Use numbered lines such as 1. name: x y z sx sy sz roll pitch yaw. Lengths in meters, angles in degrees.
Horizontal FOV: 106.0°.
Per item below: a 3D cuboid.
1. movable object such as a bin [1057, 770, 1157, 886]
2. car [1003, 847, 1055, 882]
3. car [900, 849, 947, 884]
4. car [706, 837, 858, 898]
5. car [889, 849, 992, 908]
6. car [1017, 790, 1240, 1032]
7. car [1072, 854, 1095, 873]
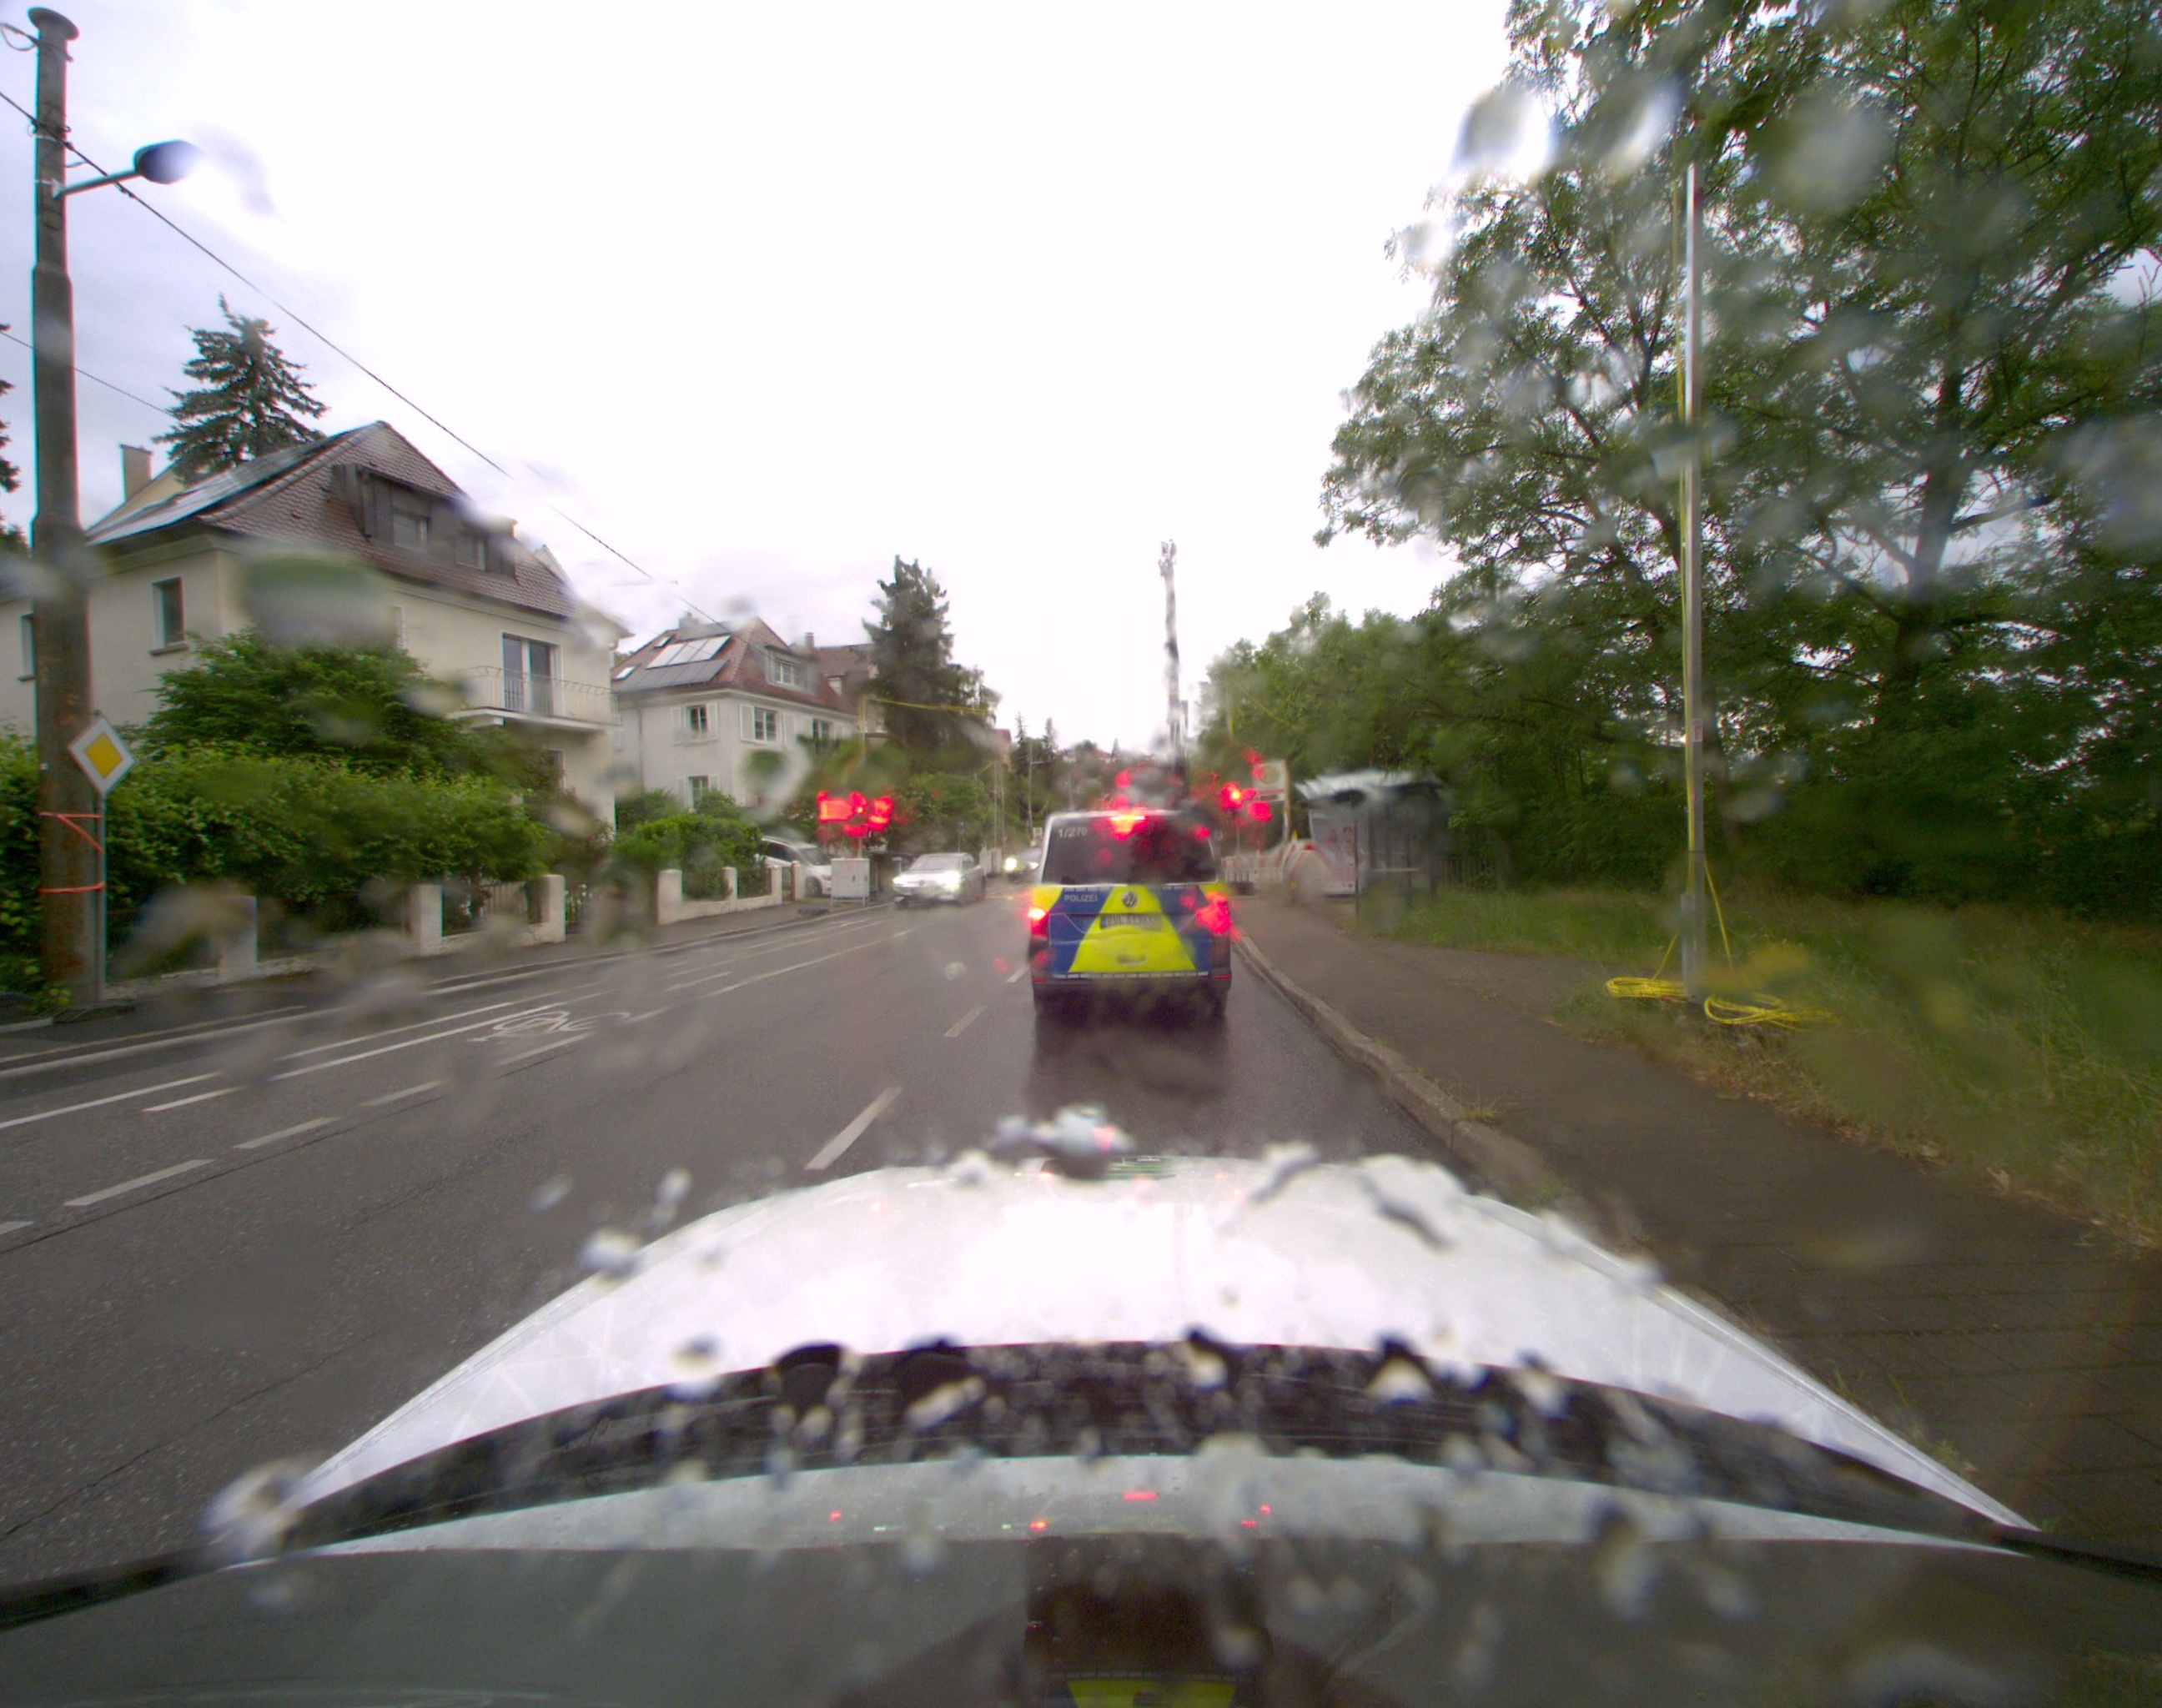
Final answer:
1. movable object such as a bin: 1.113 -0.933 31.774 2.809 4.177 4.400 0 0 17
2. car: -2.470 0.486 39.762 1.857 1.621 4.171 -1 0 5
3. car: -7.447 0.553 38.302 1.770 1.486 3.720 0 1 -17
4. car: -10.273 0.457 28.059 4.599 2.007 1.907 0 0 13
5. car: -3.995 0.663 24.015 1.845 1.527 4.824 -1 -1 4
6. car: 0.469 0.481 8.944 1.886 2.050 4.002 0 0 2
7. car: 0.255 0.762 65.623 1.758 1.463 3.887 0 0 1
